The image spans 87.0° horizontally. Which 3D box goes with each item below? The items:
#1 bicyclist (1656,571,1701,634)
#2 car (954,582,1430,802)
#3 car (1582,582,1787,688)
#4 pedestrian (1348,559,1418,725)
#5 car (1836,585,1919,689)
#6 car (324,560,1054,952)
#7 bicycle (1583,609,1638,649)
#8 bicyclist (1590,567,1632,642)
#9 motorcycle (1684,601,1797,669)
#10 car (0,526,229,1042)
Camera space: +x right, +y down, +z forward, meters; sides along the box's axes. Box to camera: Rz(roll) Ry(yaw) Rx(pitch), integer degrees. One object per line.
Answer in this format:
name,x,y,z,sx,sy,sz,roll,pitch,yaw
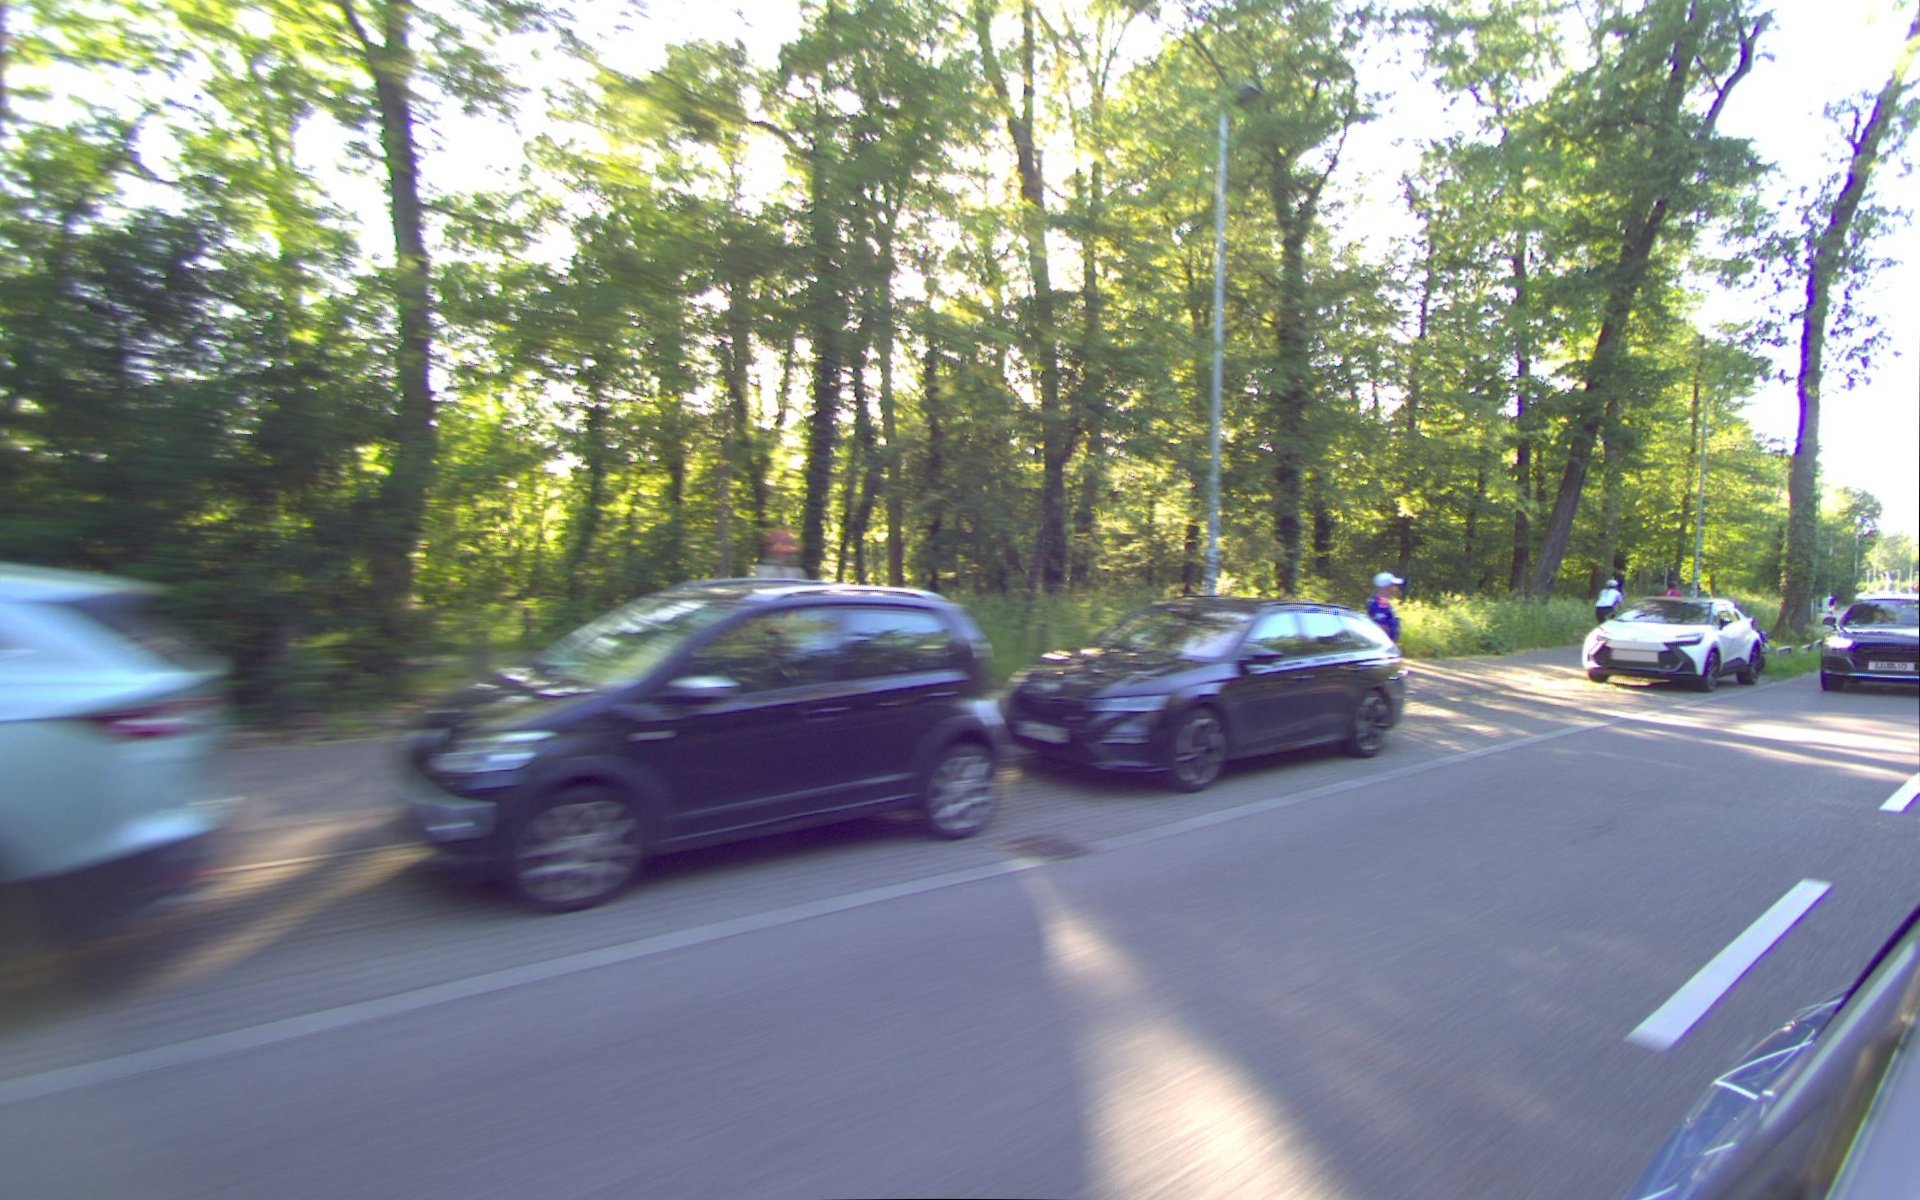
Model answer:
bicyclist,18.853,0.048,26.560,0.861,1.580,0.703,-1,3,-41
car,2.262,0.614,9.136,4.454,1.452,1.857,0,3,-40
car,13.004,0.540,18.083,4.376,1.579,1.811,0,4,-39
pedestrian,4.745,0.445,11.350,0.510,1.778,0.726,3,2,36
car,16.618,0.576,17.625,1.857,1.638,3.937,2,2,44
car,-1.370,0.604,5.972,3.842,1.540,1.598,0,4,-41
bicycle,15.521,0.672,24.138,1.898,0.894,0.593,0,2,-41
bicyclist,15.513,0.097,24.120,0.820,1.737,0.596,0,1,-40
motorcycle,16.163,0.688,20.981,0.759,1.269,1.735,-1,3,-44
car,-4.933,0.544,2.759,4.640,1.604,1.857,0,4,-41
